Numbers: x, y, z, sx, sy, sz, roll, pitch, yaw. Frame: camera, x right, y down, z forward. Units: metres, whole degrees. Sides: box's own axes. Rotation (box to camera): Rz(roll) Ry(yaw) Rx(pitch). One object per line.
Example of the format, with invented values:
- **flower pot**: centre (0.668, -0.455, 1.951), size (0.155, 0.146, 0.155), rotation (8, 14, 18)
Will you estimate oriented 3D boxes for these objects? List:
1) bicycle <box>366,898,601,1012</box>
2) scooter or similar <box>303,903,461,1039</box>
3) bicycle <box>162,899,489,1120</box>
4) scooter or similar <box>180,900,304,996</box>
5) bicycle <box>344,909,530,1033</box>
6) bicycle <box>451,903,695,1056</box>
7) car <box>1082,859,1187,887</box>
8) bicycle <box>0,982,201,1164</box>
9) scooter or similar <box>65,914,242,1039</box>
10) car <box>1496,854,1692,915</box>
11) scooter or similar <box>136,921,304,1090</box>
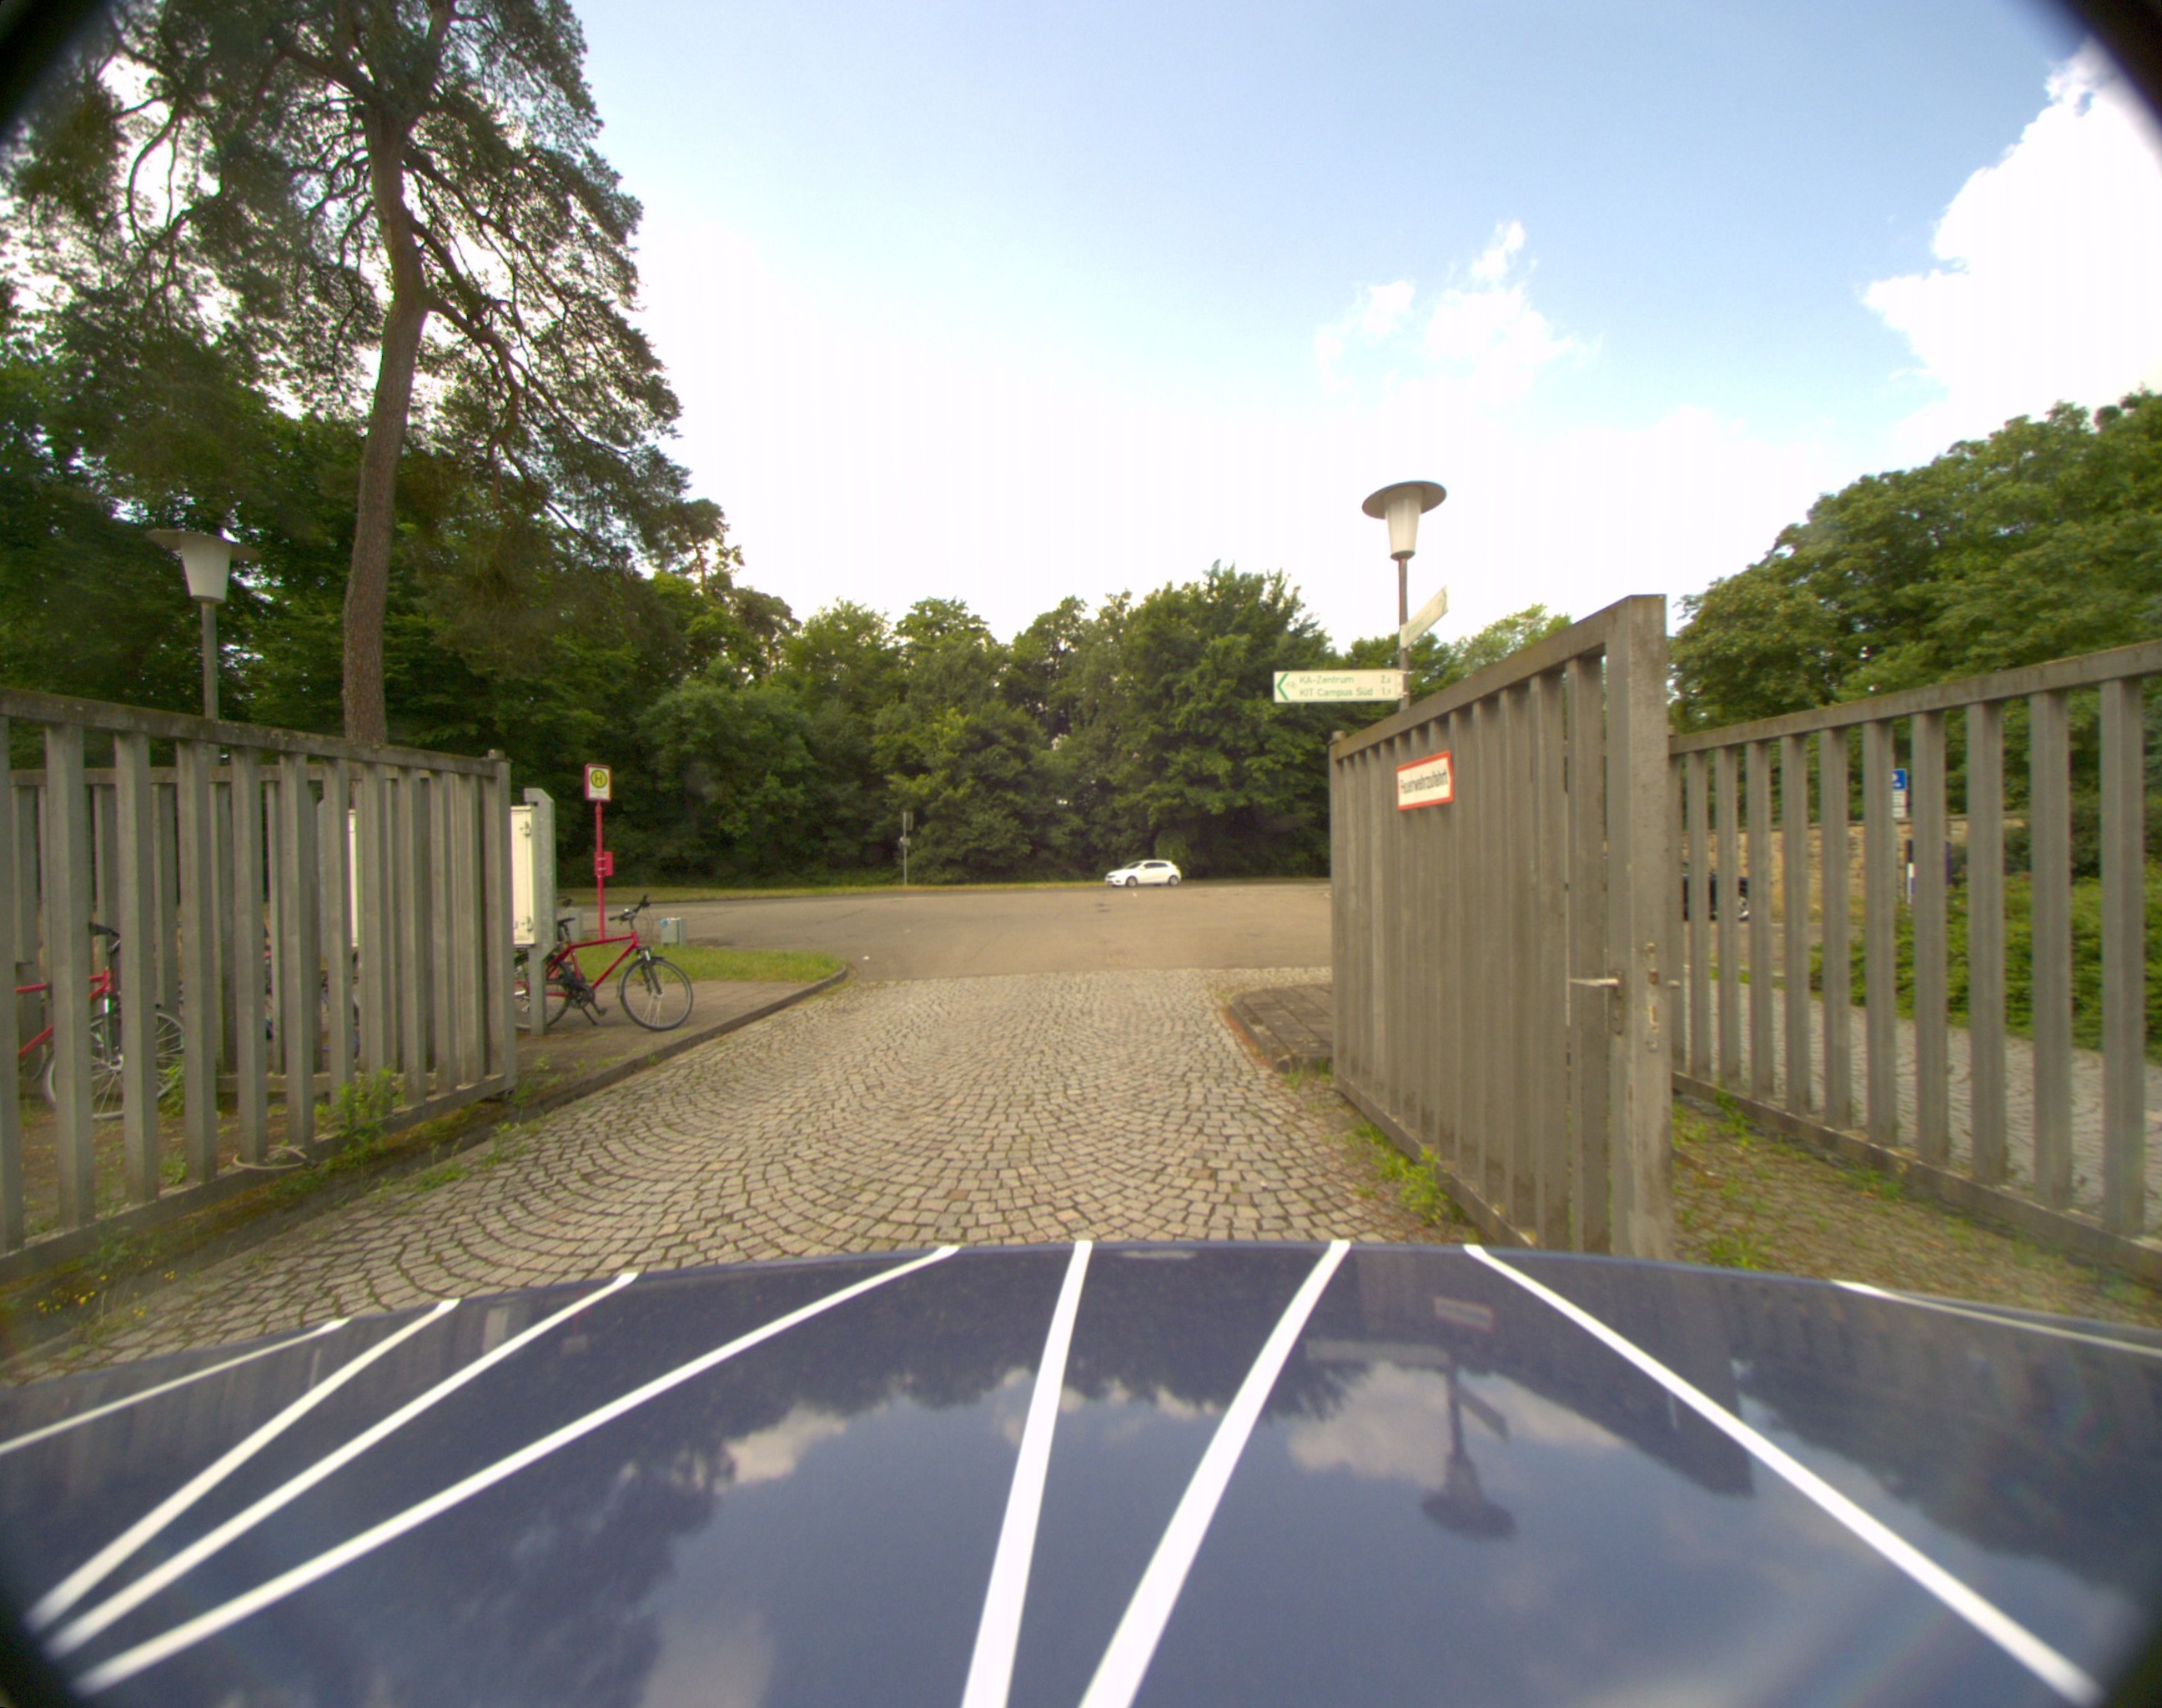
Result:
- **bicycle**: centre (-6.937, 1.156, 8.895), size (2.173, 1.233, 0.635), rotation (0, 1, -3)
- **scooter or similar**: centre (-6.736, 1.106, 7.338), size (1.282, 1.238, 0.386), rotation (0, 1, 8)
- **bicycle**: centre (-5.279, 1.044, 5.342), size (1.904, 1.409, 0.516), rotation (0, 2, 7)
- **scooter or similar**: centre (-11.149, 1.236, 10.118), size (1.090, 1.221, 0.438), rotation (1, 2, -3)
- **bicycle**: centre (-6.701, 1.182, 7.920), size (1.608, 1.155, 0.623), rotation (0, -1, 13)
- **bicycle**: centre (-4.578, 1.112, 6.937), size (1.739, 1.270, 0.672), rotation (0, 1, -2)
- **car**: centre (2.935, 1.008, 41.365), size (5.420, 1.370, 1.996), rotation (-1, 0, -26)
- **bicycle**: centre (-6.546, 1.301, 4.610), size (1.950, 0.962, 0.457), rotation (-1, 1, 3)
- **scooter or similar**: centre (-10.951, 1.444, 9.001), size (1.251, 1.406, 0.531), rotation (0, -9, 3)
- **car**: centre (13.811, 0.792, 20.664), size (3.995, 1.433, 1.880), rotation (-2, 0, 4)
- **scooter or similar**: centre (-7.012, 1.173, 6.255), size (0.439, 1.143, 1.250), rotation (-1, 0, -26)
